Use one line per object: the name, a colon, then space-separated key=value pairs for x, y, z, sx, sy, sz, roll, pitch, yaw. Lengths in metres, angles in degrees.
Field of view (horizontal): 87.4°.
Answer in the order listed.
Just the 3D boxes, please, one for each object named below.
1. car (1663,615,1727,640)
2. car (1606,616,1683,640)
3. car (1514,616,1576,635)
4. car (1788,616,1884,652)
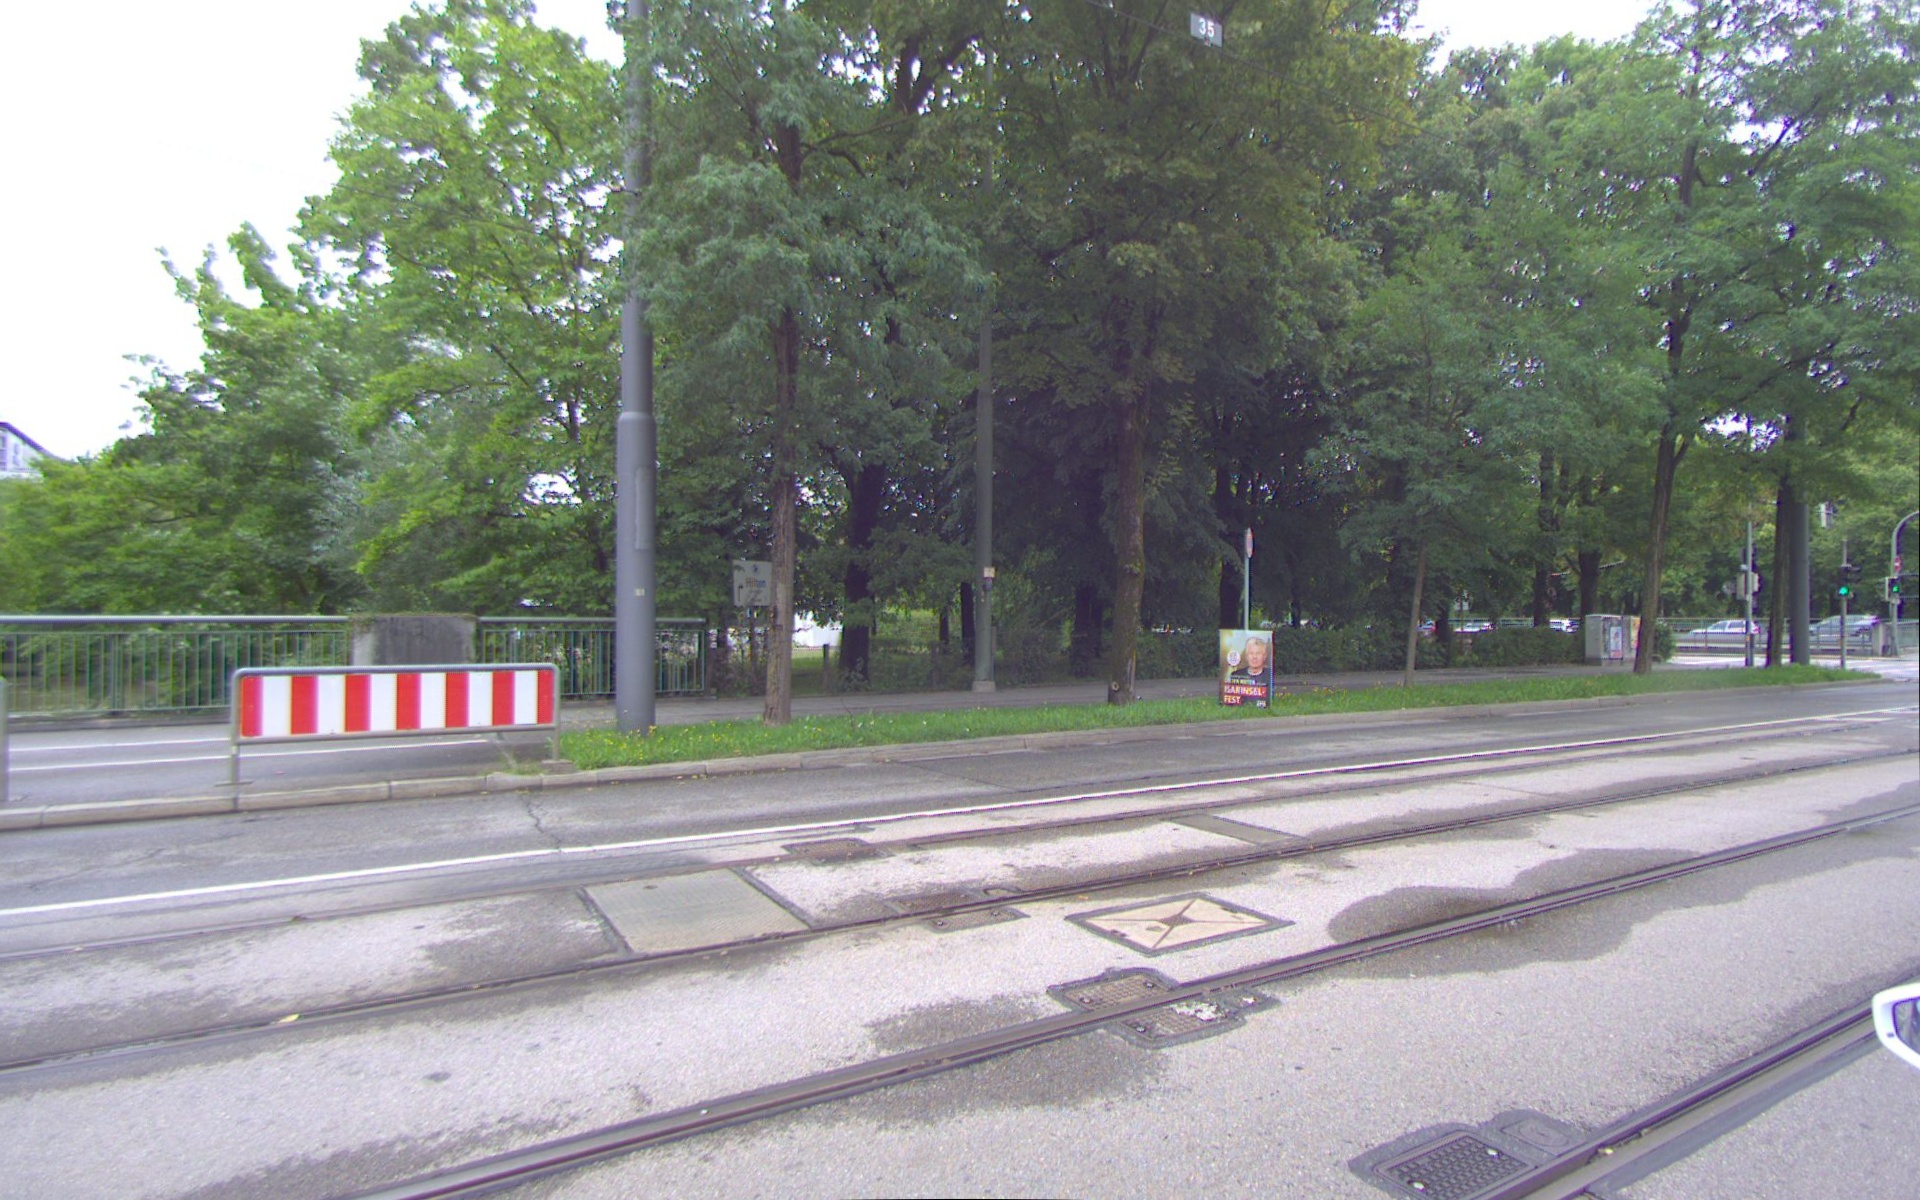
car: x=47.517 y=1.778 z=64.966 sx=1.238 sy=1.471 sz=3.090 roll=1 pitch=1 yaw=-34
car: x=46.007 y=1.844 z=67.584 sx=1.703 sy=1.423 sz=3.900 roll=1 pitch=0 yaw=-34
car: x=42.463 y=1.862 z=72.938 sx=1.238 sy=1.201 sz=3.704 roll=1 pitch=1 yaw=-34
car: x=51.597 y=1.965 z=59.229 sx=1.476 sy=1.912 sz=3.994 roll=1 pitch=1 yaw=-36
